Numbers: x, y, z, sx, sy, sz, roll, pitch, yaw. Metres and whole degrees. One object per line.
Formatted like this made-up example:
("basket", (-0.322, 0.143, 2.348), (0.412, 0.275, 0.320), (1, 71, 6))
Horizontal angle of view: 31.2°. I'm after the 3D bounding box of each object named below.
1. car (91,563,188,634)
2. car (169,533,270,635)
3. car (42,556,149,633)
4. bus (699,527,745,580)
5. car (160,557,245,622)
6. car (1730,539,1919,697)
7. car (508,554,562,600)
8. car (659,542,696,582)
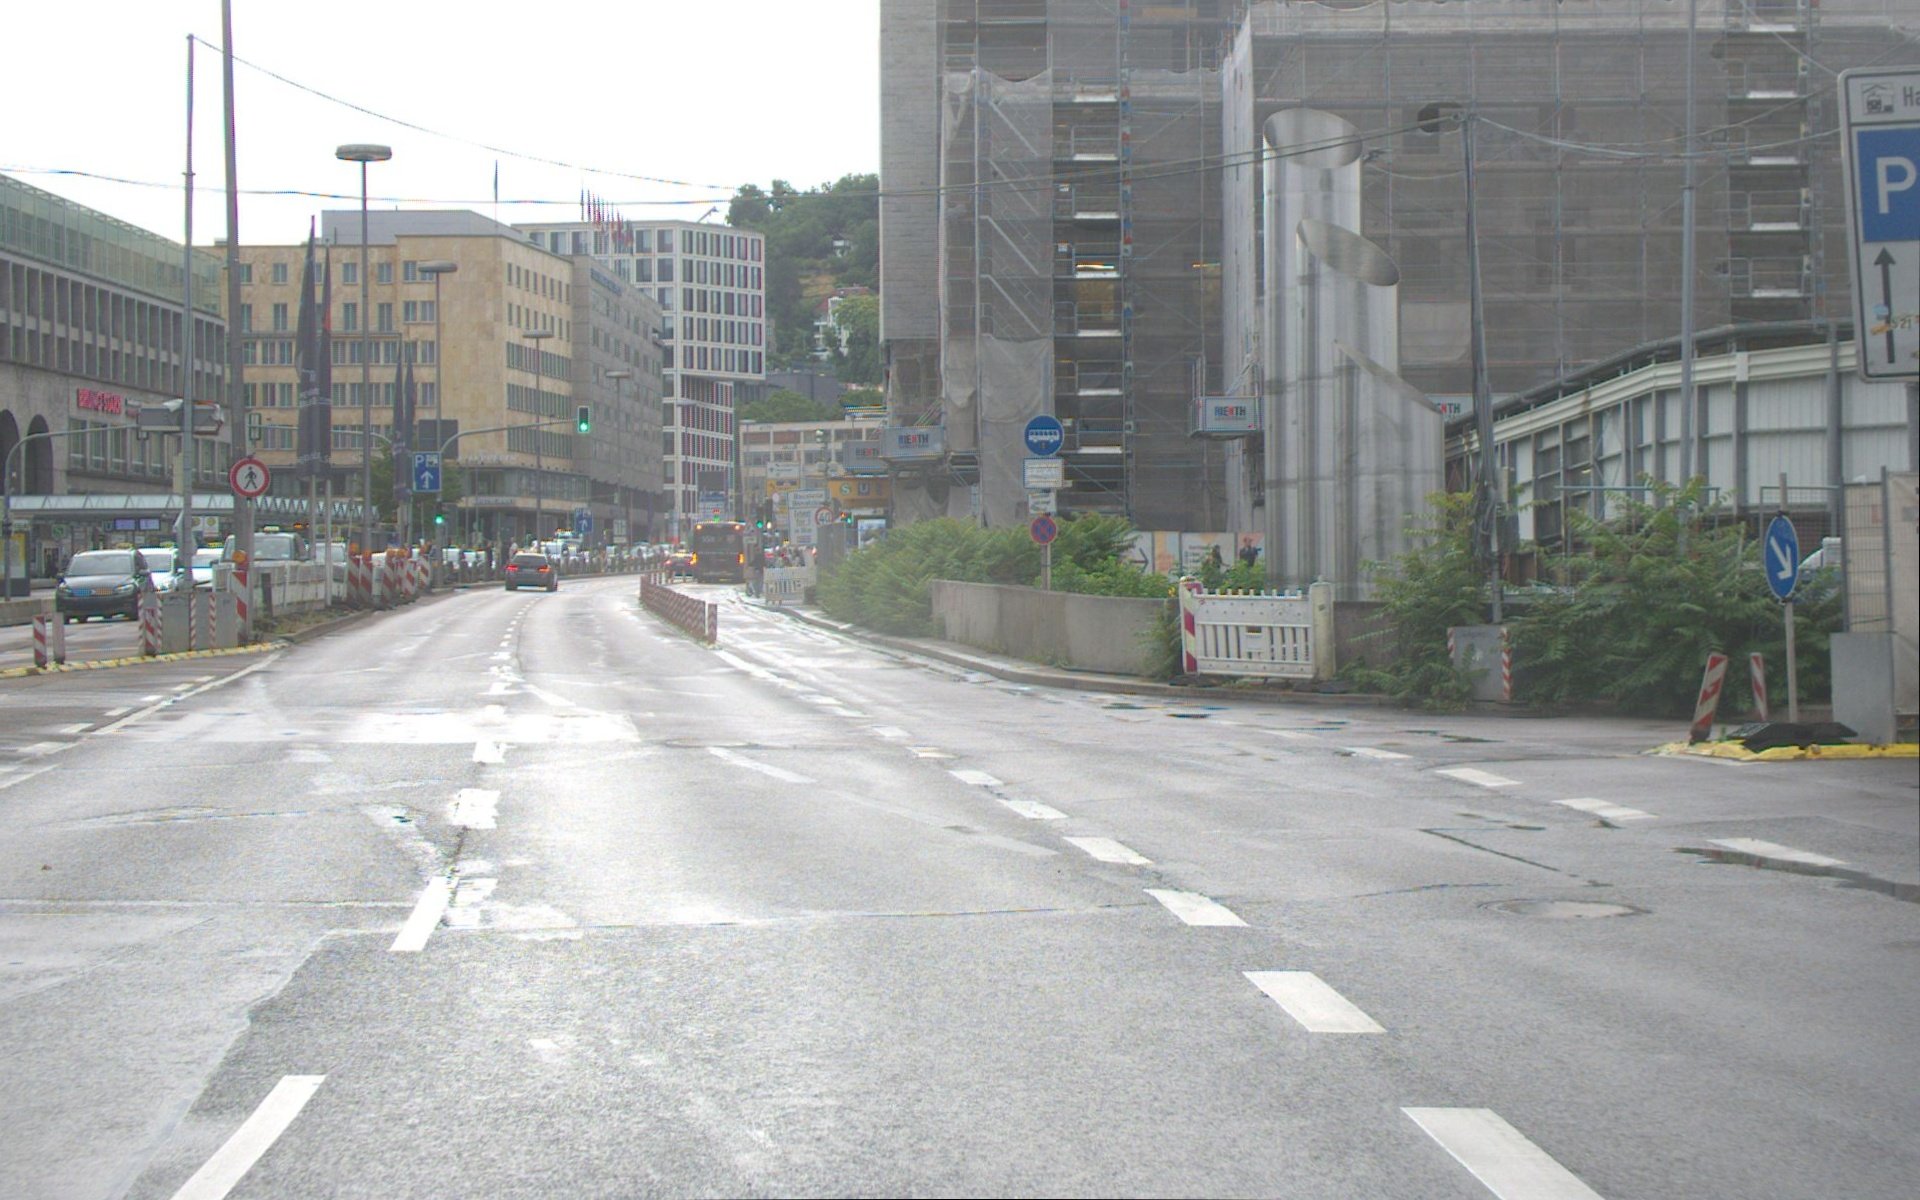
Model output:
("car", (-19.898, -0.017, 83.516), (1.901, 1.523, 4.178), (-2, -2, -8))
("car", (-16.751, -0.333, 77.892), (1.901, 2.076, 4.178), (-2, -2, -8))
("car", (-19.507, -0.107, 77.717), (1.901, 1.523, 4.178), (-2, -2, -8))
("bus", (-11.898, -2.298, 172.282), (1.993, 2.423, 4.000), (-2, -2, -1))
("car", (-20.437, -0.269, 92.903), (1.901, 1.523, 4.178), (-2, -2, -8))
("car", (13.539, 0.244, 48.010), (4.874, 2.124, 2.348), (2, 1, 42))
("car", (-16.215, -0.862, 130.958), (1.901, 1.523, 4.178), (-2, -2, -8))
("car", (-15.915, -2.143, 194.055), (1.993, 2.007, 4.000), (-2, -2, -5))
